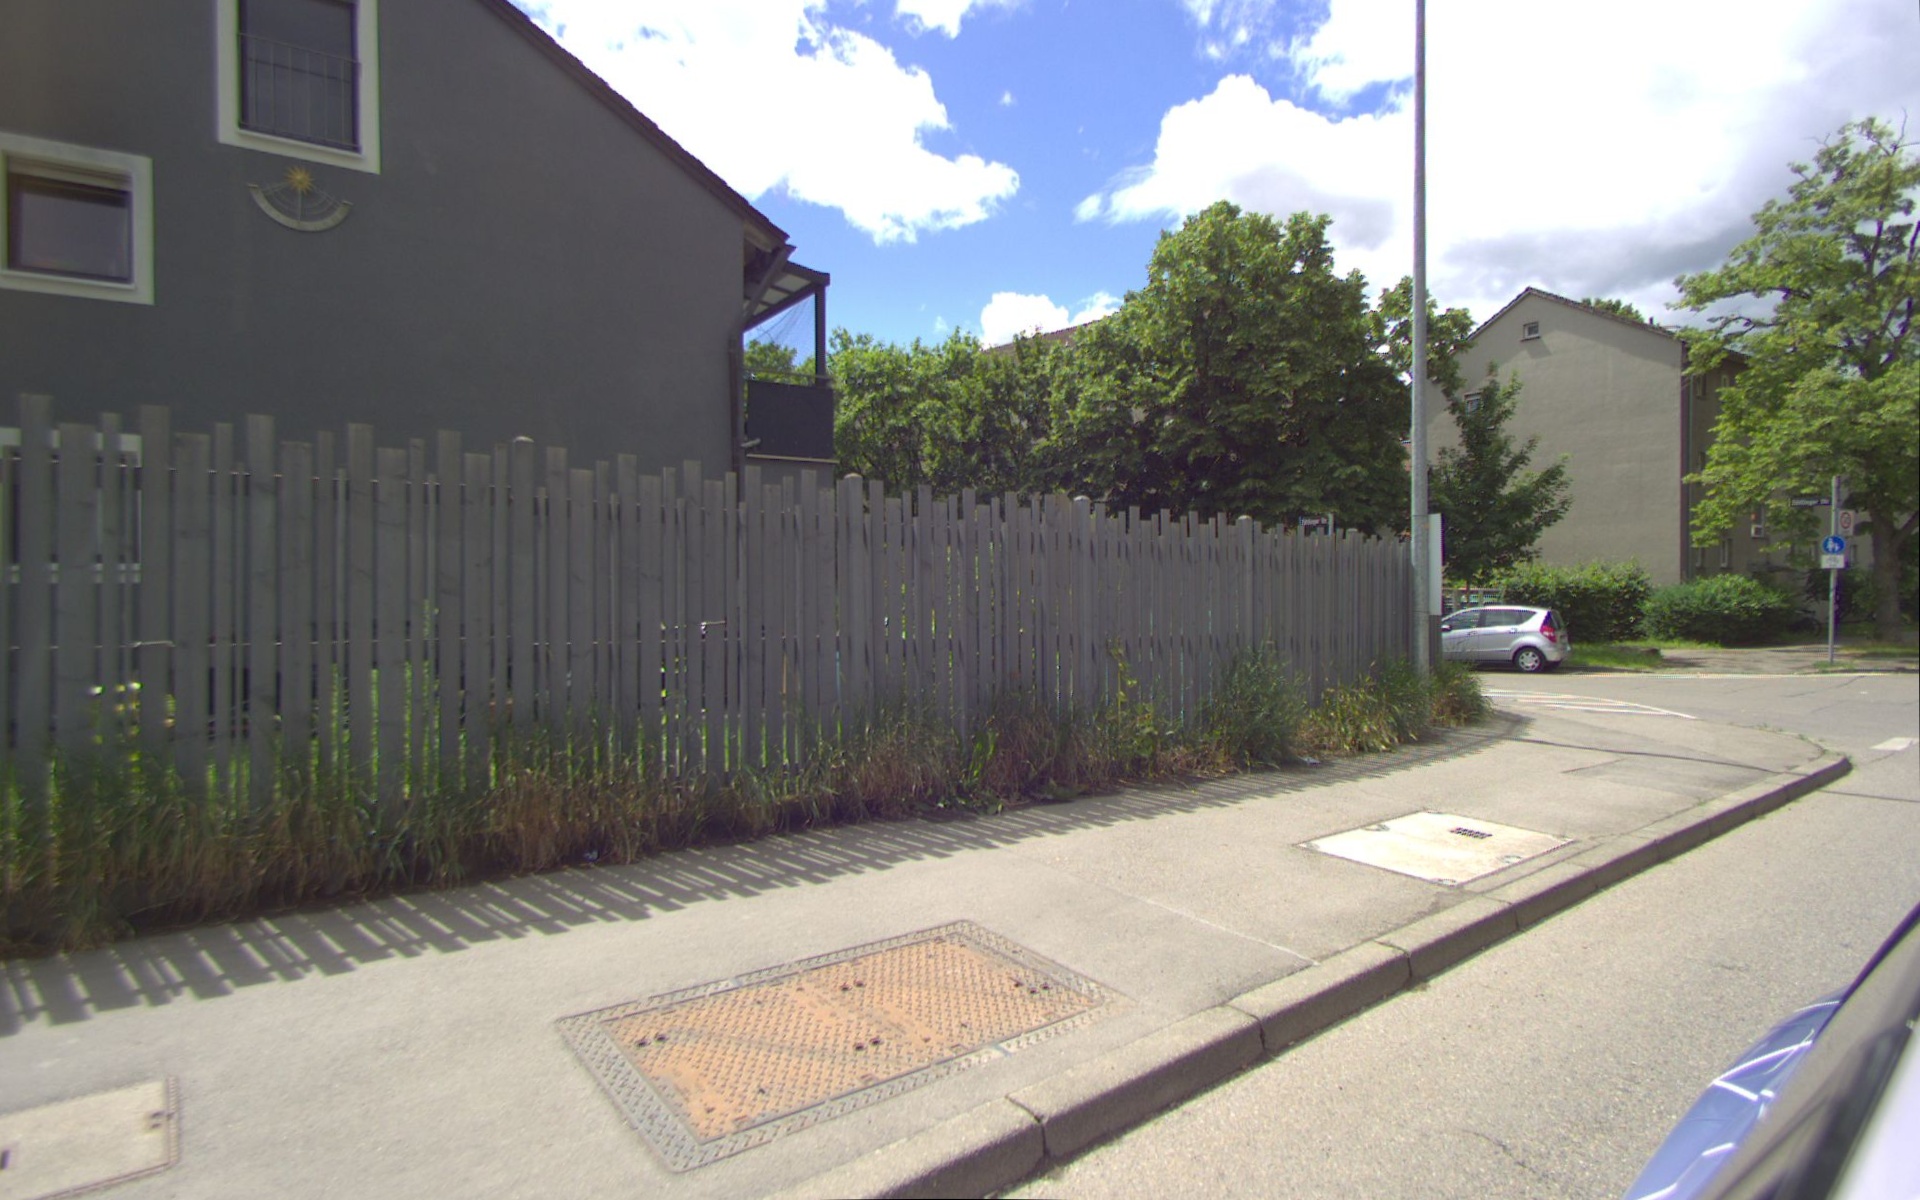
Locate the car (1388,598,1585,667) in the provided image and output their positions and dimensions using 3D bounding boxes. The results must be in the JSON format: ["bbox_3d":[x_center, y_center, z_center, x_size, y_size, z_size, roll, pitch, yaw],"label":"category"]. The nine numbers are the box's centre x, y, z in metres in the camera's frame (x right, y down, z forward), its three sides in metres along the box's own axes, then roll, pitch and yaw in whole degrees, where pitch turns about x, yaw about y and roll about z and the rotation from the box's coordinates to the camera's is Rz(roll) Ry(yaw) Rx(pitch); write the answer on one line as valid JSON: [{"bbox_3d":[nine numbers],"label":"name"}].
[{"bbox_3d":[12.984,0.757,25.085,3.986,1.574,1.909,-1,-1,44],"label":"car"}]

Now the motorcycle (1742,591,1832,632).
[{"bbox_3d":[27.381,0.347,33.547,0.667,1.298,2.214,-1,1,-30],"label":"motorcycle"}]

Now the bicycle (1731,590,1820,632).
[{"bbox_3d":[26.705,0.347,33.173,0.667,1.298,2.176,-1,1,-30],"label":"bicycle"}]

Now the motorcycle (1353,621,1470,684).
[{"bbox_3d":[9.245,1.047,20.708,2.374,1.163,0.662,-1,-1,-21],"label":"motorcycle"}]
